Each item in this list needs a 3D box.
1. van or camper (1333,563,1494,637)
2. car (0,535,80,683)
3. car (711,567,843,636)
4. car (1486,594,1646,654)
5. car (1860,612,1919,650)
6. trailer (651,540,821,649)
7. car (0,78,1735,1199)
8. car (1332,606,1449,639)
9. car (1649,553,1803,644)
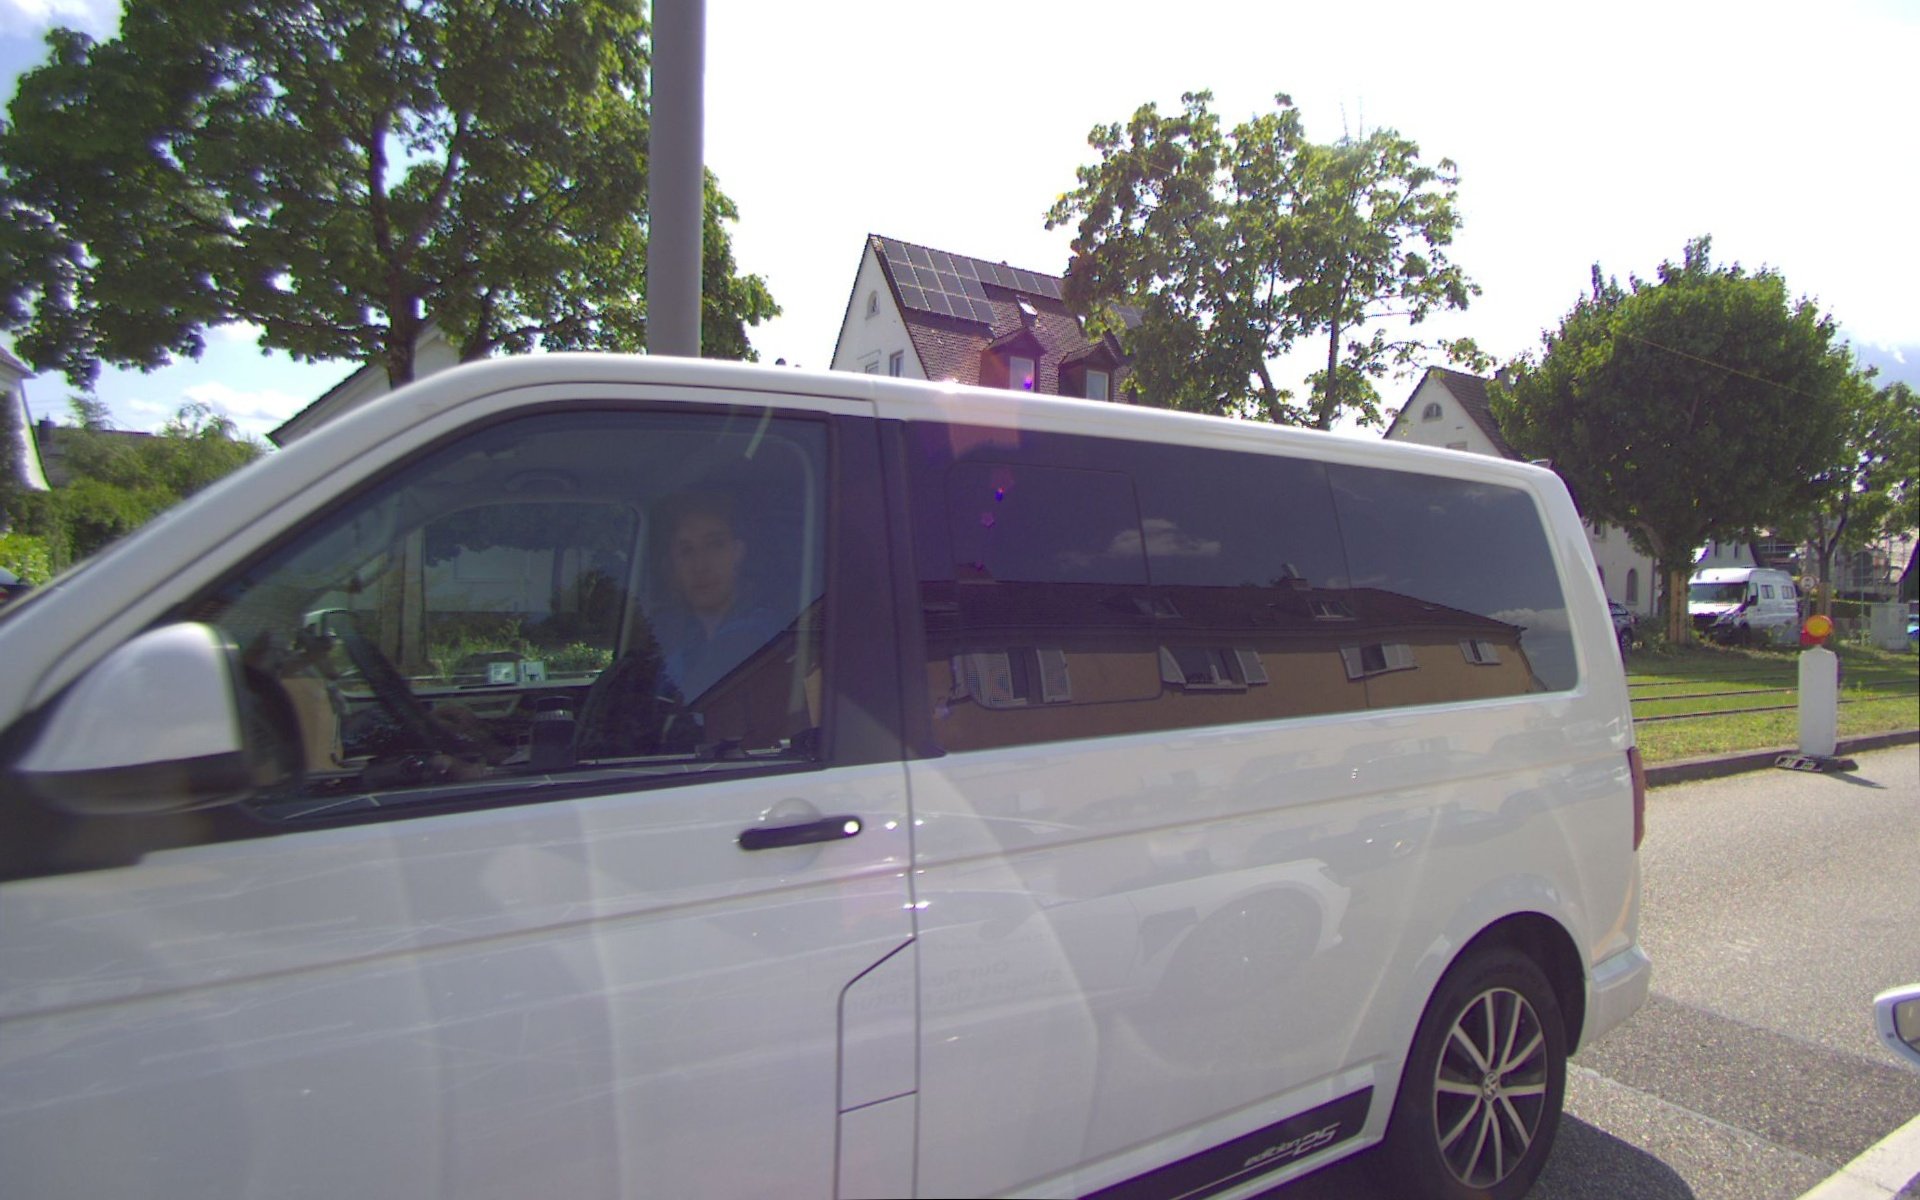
[{"bbox_3d":[21.486,-0.036,47.967,2.604,3.265,6.694,1,1,-30],"label":"van or camper"},{"bbox_3d":[-12.347,0.134,10.772,4.052,1.599,1.897,0,-2,-30],"label":"car"},{"bbox_3d":[-4.646,-0.001,25.090,1.977,1.548,3.967,-2,1,-30],"label":"car"},{"bbox_3d":[17.001,0.682,28.124,4.435,1.526,1.983,2,0,-31],"label":"car"},{"bbox_3d":[39.381,1.306,41.750,3.842,1.455,1.746,2,0,-29],"label":"car"},{"bbox_3d":[-3.439,-0.060,15.434,2.256,1.539,1.292,1,0,-31],"label":"trailer"},{"bbox_3d":[-0.225,0.482,2.563,4.507,1.968,1.931,1,-1,-30],"label":"car"},{"bbox_3d":[17.410,0.885,40.806,2.022,1.177,3.967,2,0,-31],"label":"car"},{"bbox_3d":[25.313,-0.009,33.099,6.393,2.767,1.982,1,0,-33],"label":"car"}]
